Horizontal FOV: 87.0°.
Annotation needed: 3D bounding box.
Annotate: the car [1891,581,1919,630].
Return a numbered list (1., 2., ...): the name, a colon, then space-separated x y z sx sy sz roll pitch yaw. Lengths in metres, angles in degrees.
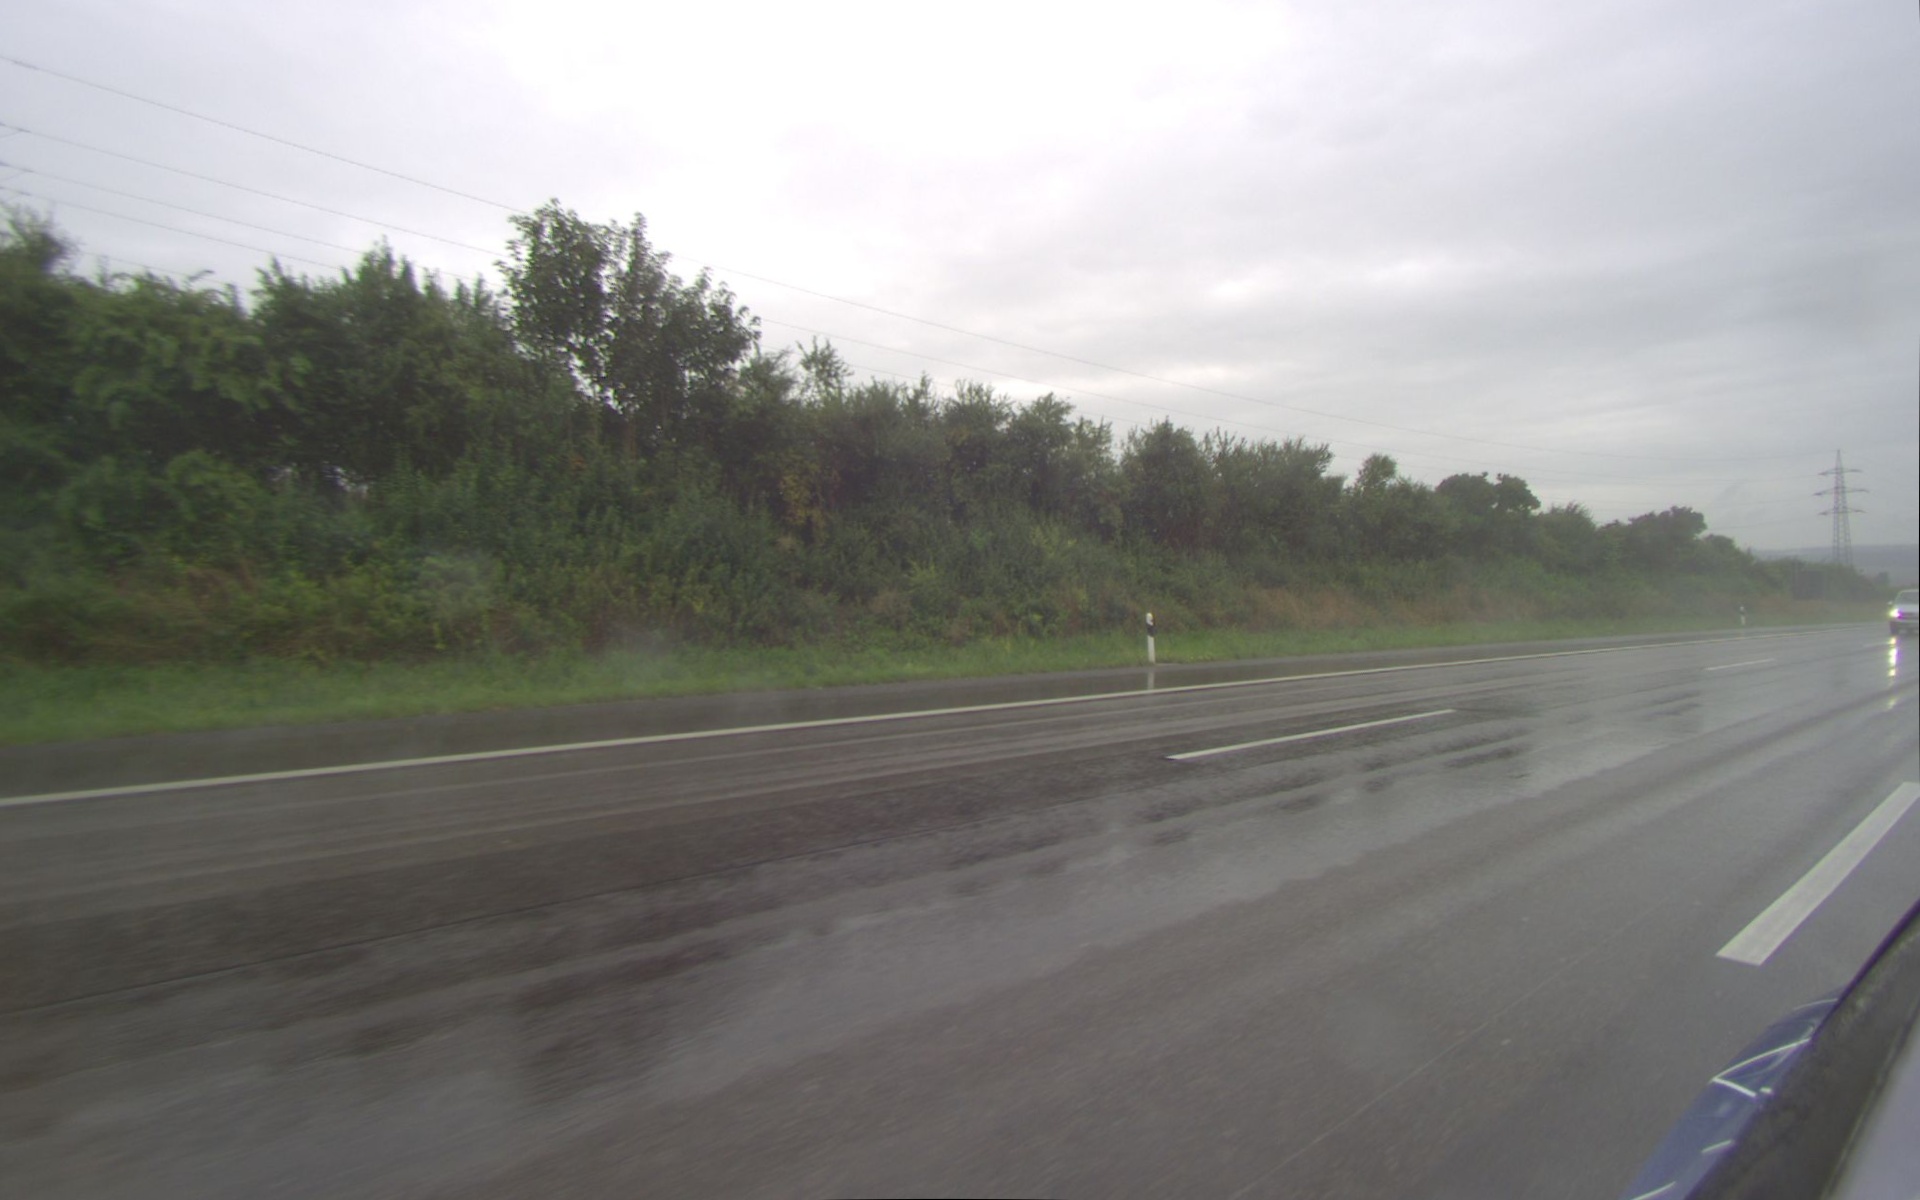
1. car: 41.807 0.249 43.578 3.928 2.039 1.997 0 -1 -40
